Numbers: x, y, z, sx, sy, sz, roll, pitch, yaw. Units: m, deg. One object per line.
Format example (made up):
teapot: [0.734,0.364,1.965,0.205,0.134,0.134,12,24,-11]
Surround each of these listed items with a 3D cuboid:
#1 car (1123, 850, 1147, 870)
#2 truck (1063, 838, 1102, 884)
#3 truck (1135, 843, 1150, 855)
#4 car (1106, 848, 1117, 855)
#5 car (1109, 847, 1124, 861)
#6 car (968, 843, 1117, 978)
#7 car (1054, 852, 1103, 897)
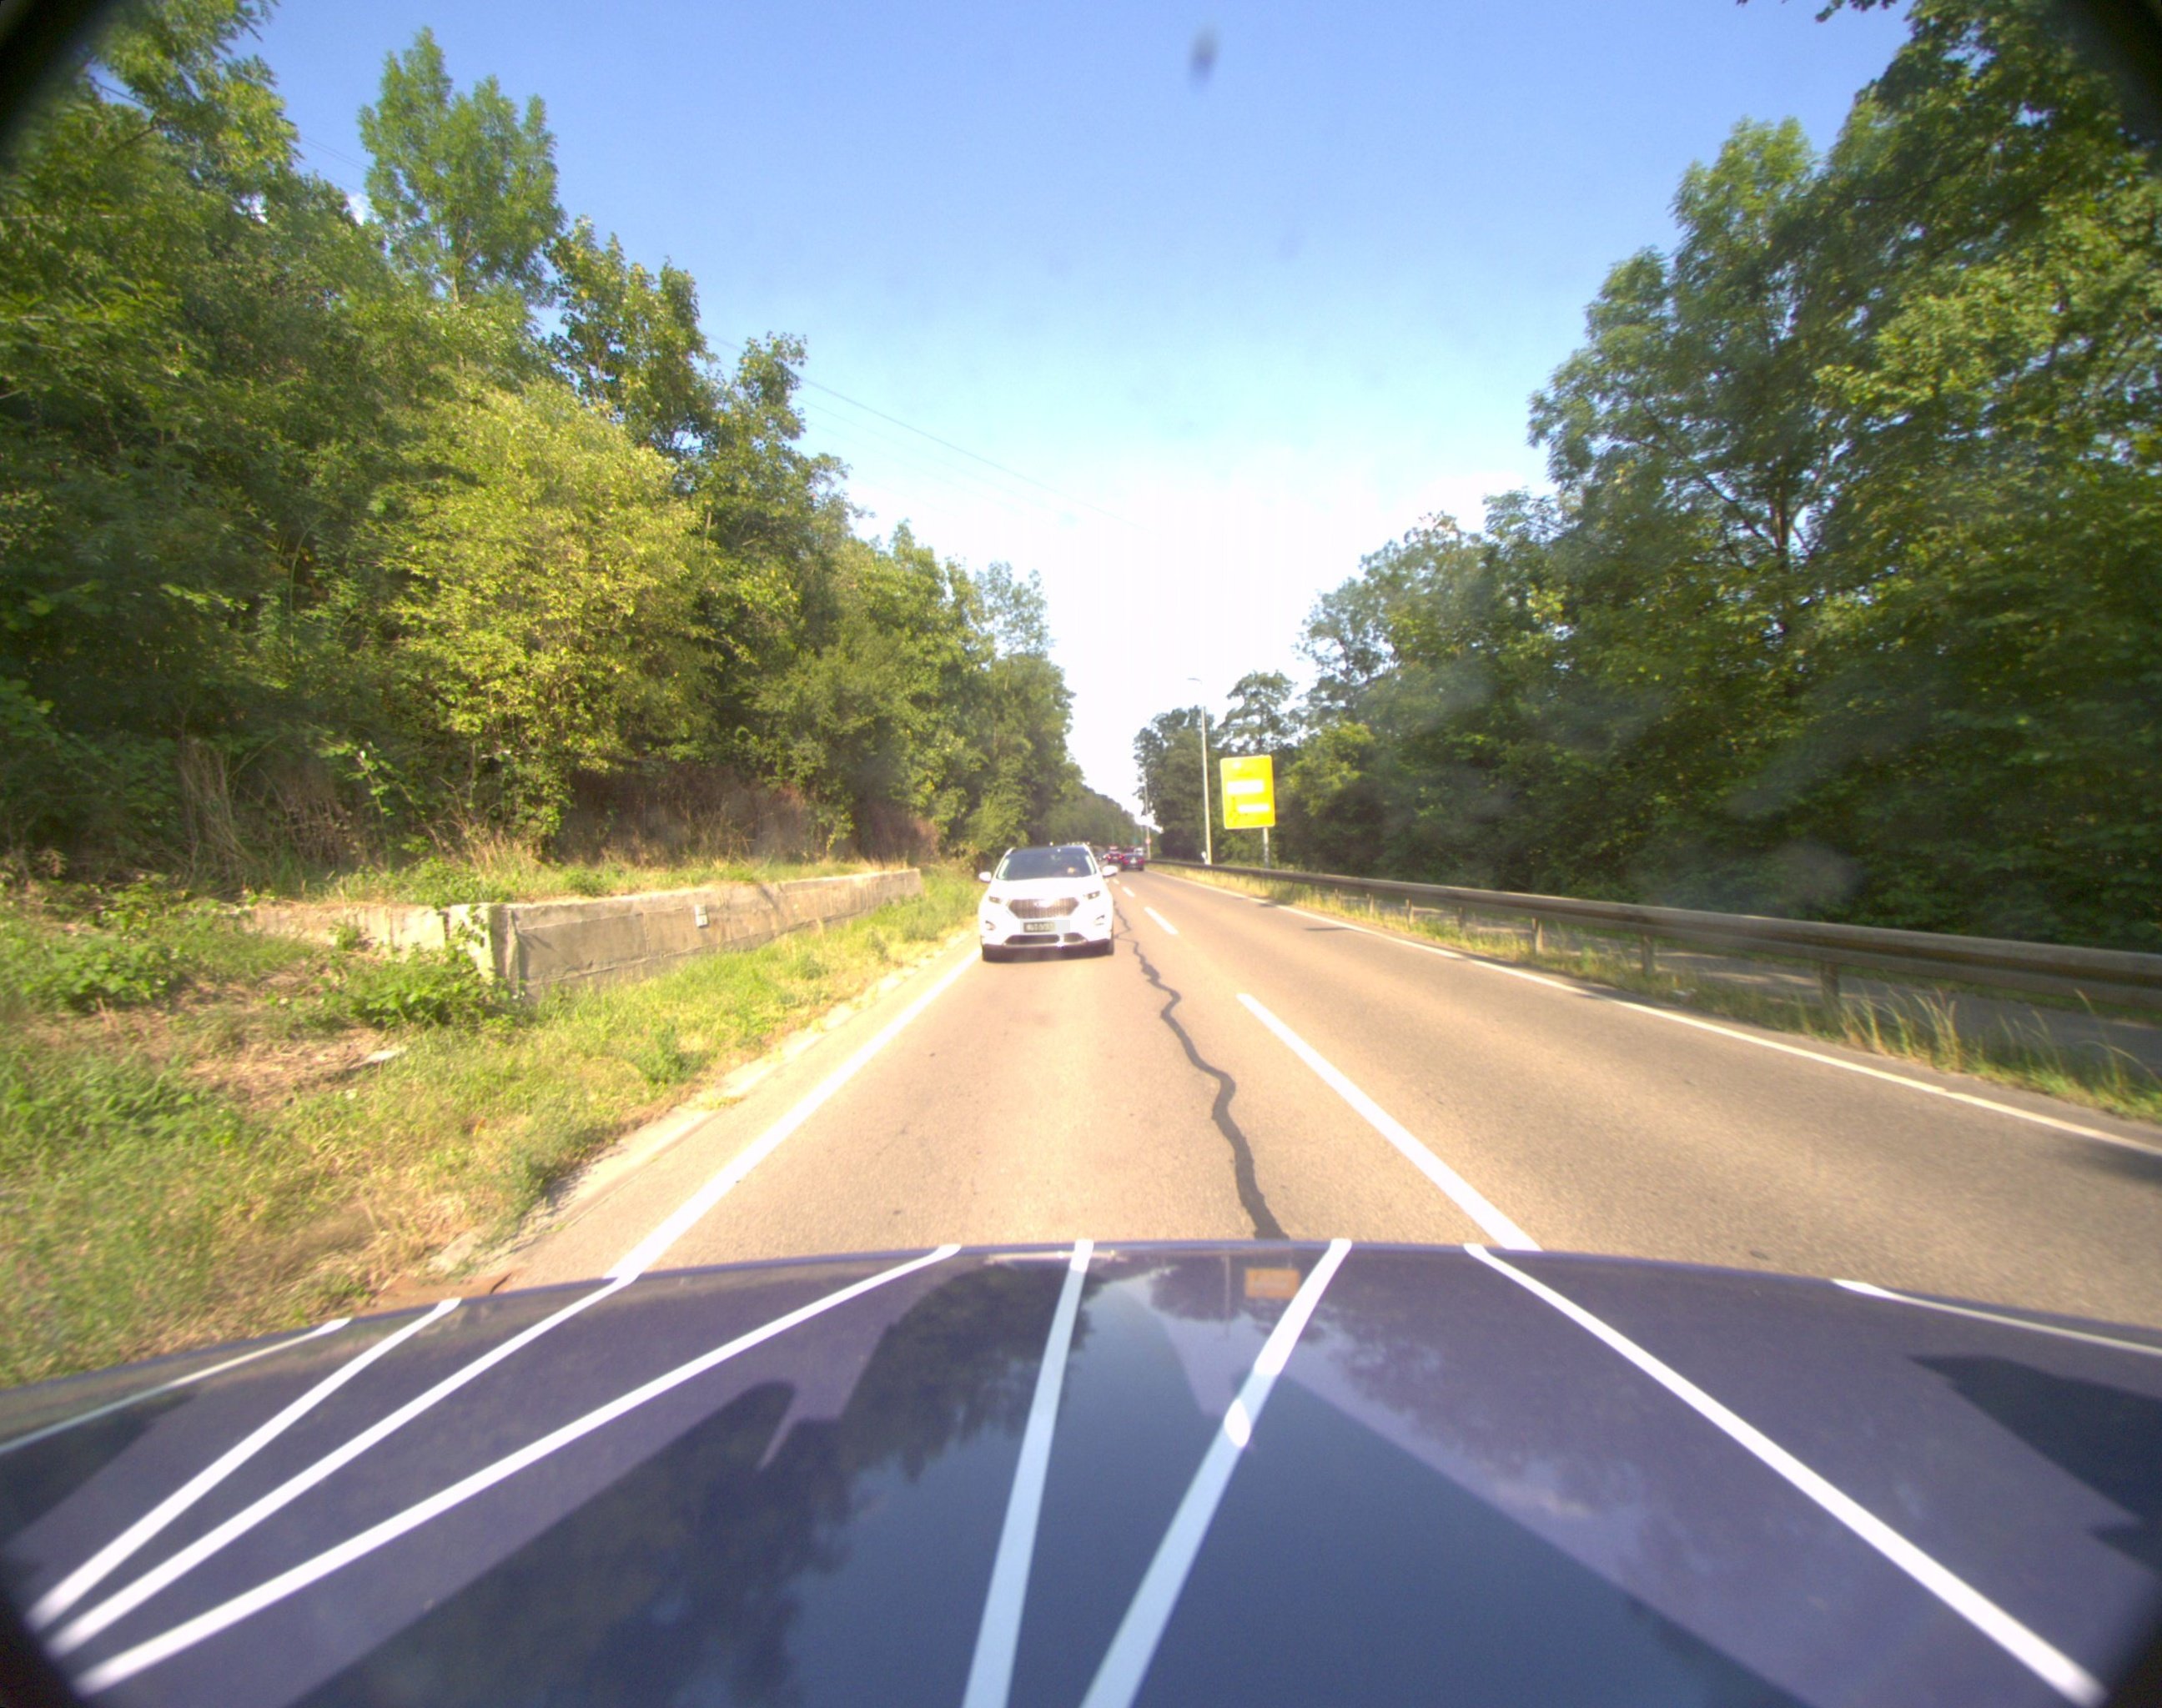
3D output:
car: [4.199,0.441,59.521,1.696,1.412,4.141,-2,1,1]
truck: [0.118,0.348,42.249,1.894,2.334,5.273,-3,0,1]
truck: [13.812,-1.190,171.103,2.060,2.371,5.878,-3,1,17]
car: [7.140,-0.606,178.081,1.997,1.647,4.002,-1,0,8]
car: [4.590,0.014,98.480,1.752,1.707,4.221,-2,0,2]
car: [-0.486,0.745,12.177,1.894,1.691,4.136,-3,0,1]
car: [-0.062,0.725,28.992,1.704,1.477,4.136,-3,0,1]
